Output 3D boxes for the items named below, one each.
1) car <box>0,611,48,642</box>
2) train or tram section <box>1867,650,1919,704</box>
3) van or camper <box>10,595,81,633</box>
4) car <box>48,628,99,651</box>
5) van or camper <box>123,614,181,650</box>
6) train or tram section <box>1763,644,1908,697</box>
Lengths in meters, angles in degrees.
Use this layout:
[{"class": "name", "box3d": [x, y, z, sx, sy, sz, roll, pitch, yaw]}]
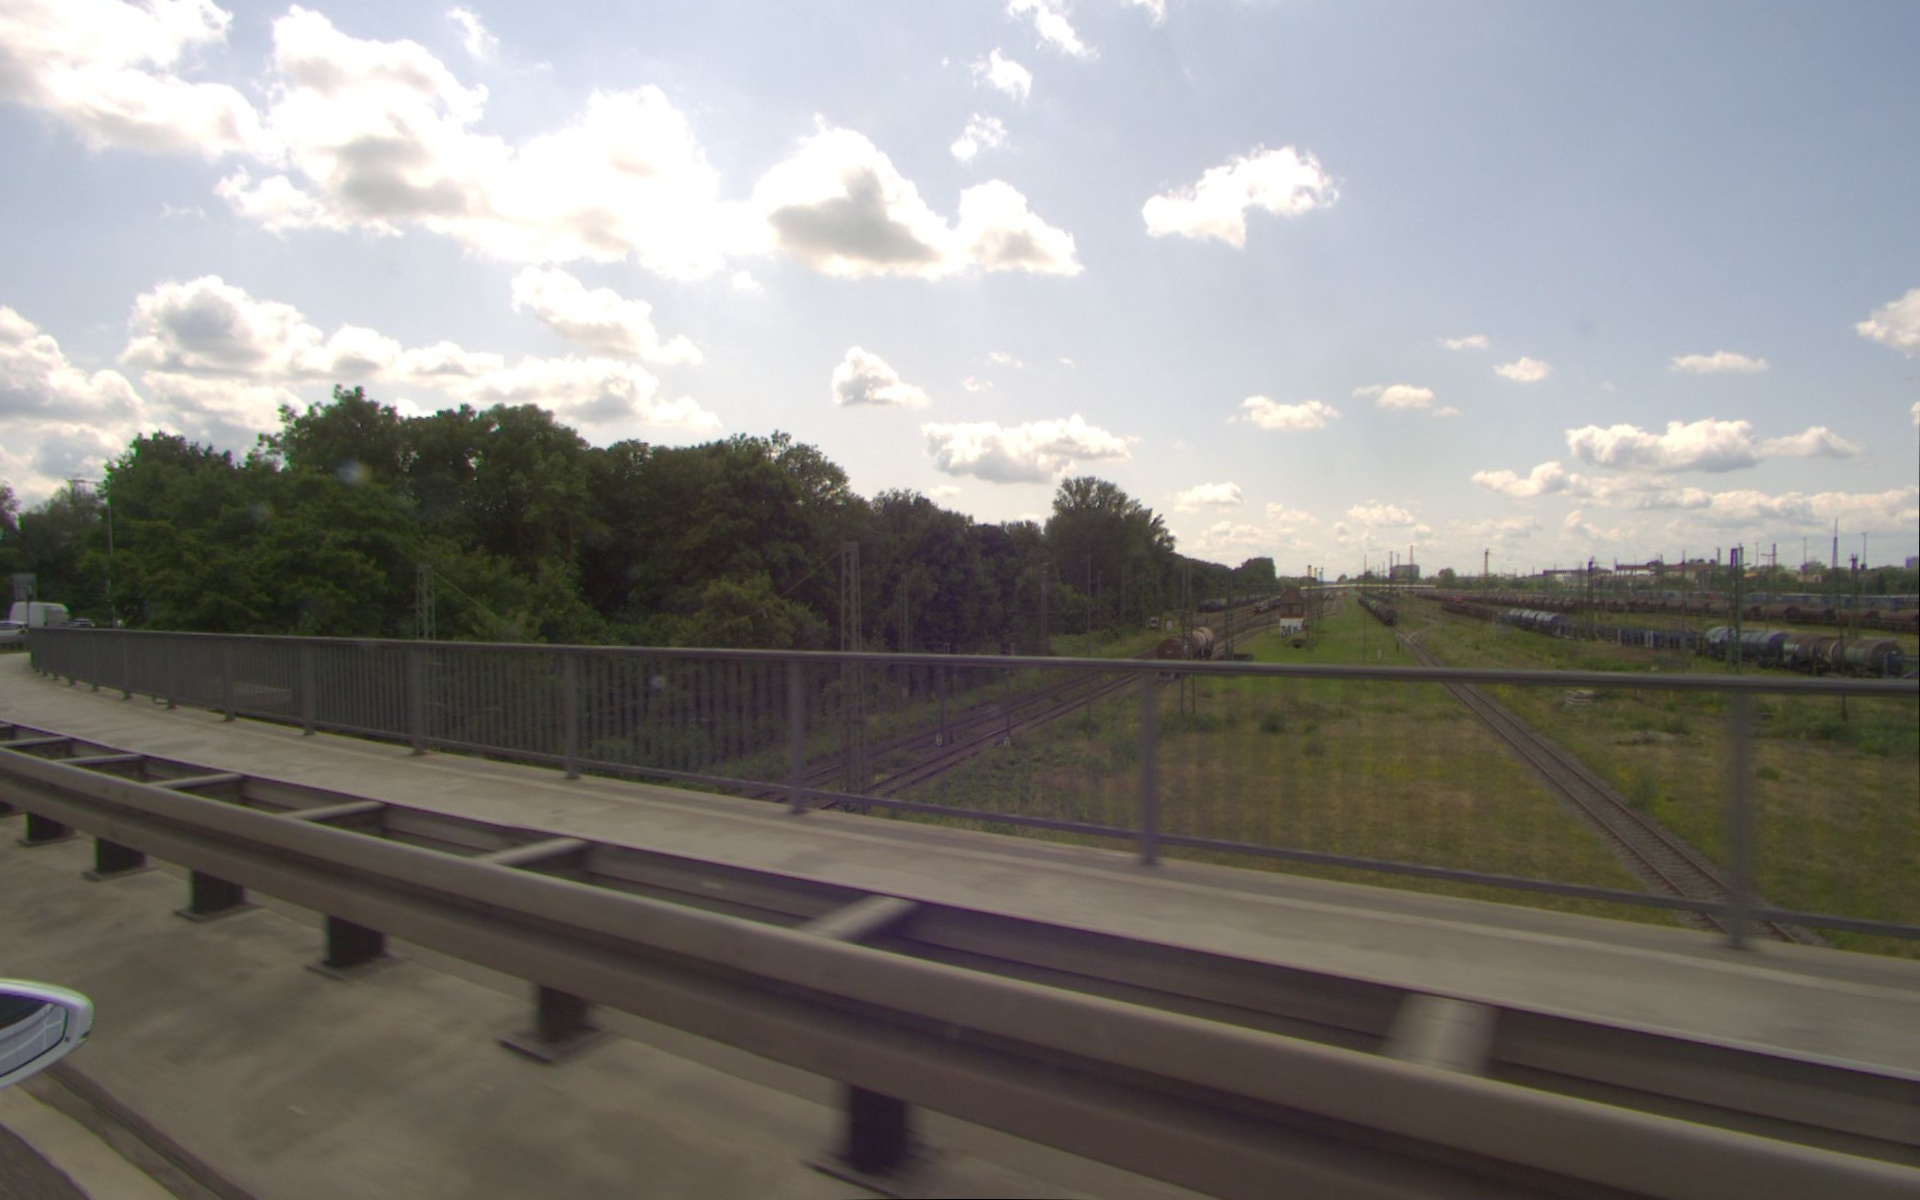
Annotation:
[{"class": "car", "box3d": [-52.119, 1.449, 55.433, 1.716, 1.673, 3.833, 1, -1, -33]}, {"class": "train or tram section", "box3d": [83.435, 6.753, 84.177, 3.153, 4.206, 15.951, -3, -1, 13]}, {"class": "van or camper", "box3d": [-62.081, 0.929, 68.087, 2.247, 2.371, 5.215, 2, -1, -28]}, {"class": "car", "box3d": [-56.971, 2.536, 64.403, 1.664, 1.416, 3.662, 1, -2, -29]}, {"class": "van or camper", "box3d": [-61.992, 2.422, 76.884, 1.965, 2.624, 4.083, 2, -1, -16]}, {"class": "train or tram section", "box3d": [86.672, 6.823, 99.794, 3.153, 4.206, 15.955, -3, -1, 11]}]
